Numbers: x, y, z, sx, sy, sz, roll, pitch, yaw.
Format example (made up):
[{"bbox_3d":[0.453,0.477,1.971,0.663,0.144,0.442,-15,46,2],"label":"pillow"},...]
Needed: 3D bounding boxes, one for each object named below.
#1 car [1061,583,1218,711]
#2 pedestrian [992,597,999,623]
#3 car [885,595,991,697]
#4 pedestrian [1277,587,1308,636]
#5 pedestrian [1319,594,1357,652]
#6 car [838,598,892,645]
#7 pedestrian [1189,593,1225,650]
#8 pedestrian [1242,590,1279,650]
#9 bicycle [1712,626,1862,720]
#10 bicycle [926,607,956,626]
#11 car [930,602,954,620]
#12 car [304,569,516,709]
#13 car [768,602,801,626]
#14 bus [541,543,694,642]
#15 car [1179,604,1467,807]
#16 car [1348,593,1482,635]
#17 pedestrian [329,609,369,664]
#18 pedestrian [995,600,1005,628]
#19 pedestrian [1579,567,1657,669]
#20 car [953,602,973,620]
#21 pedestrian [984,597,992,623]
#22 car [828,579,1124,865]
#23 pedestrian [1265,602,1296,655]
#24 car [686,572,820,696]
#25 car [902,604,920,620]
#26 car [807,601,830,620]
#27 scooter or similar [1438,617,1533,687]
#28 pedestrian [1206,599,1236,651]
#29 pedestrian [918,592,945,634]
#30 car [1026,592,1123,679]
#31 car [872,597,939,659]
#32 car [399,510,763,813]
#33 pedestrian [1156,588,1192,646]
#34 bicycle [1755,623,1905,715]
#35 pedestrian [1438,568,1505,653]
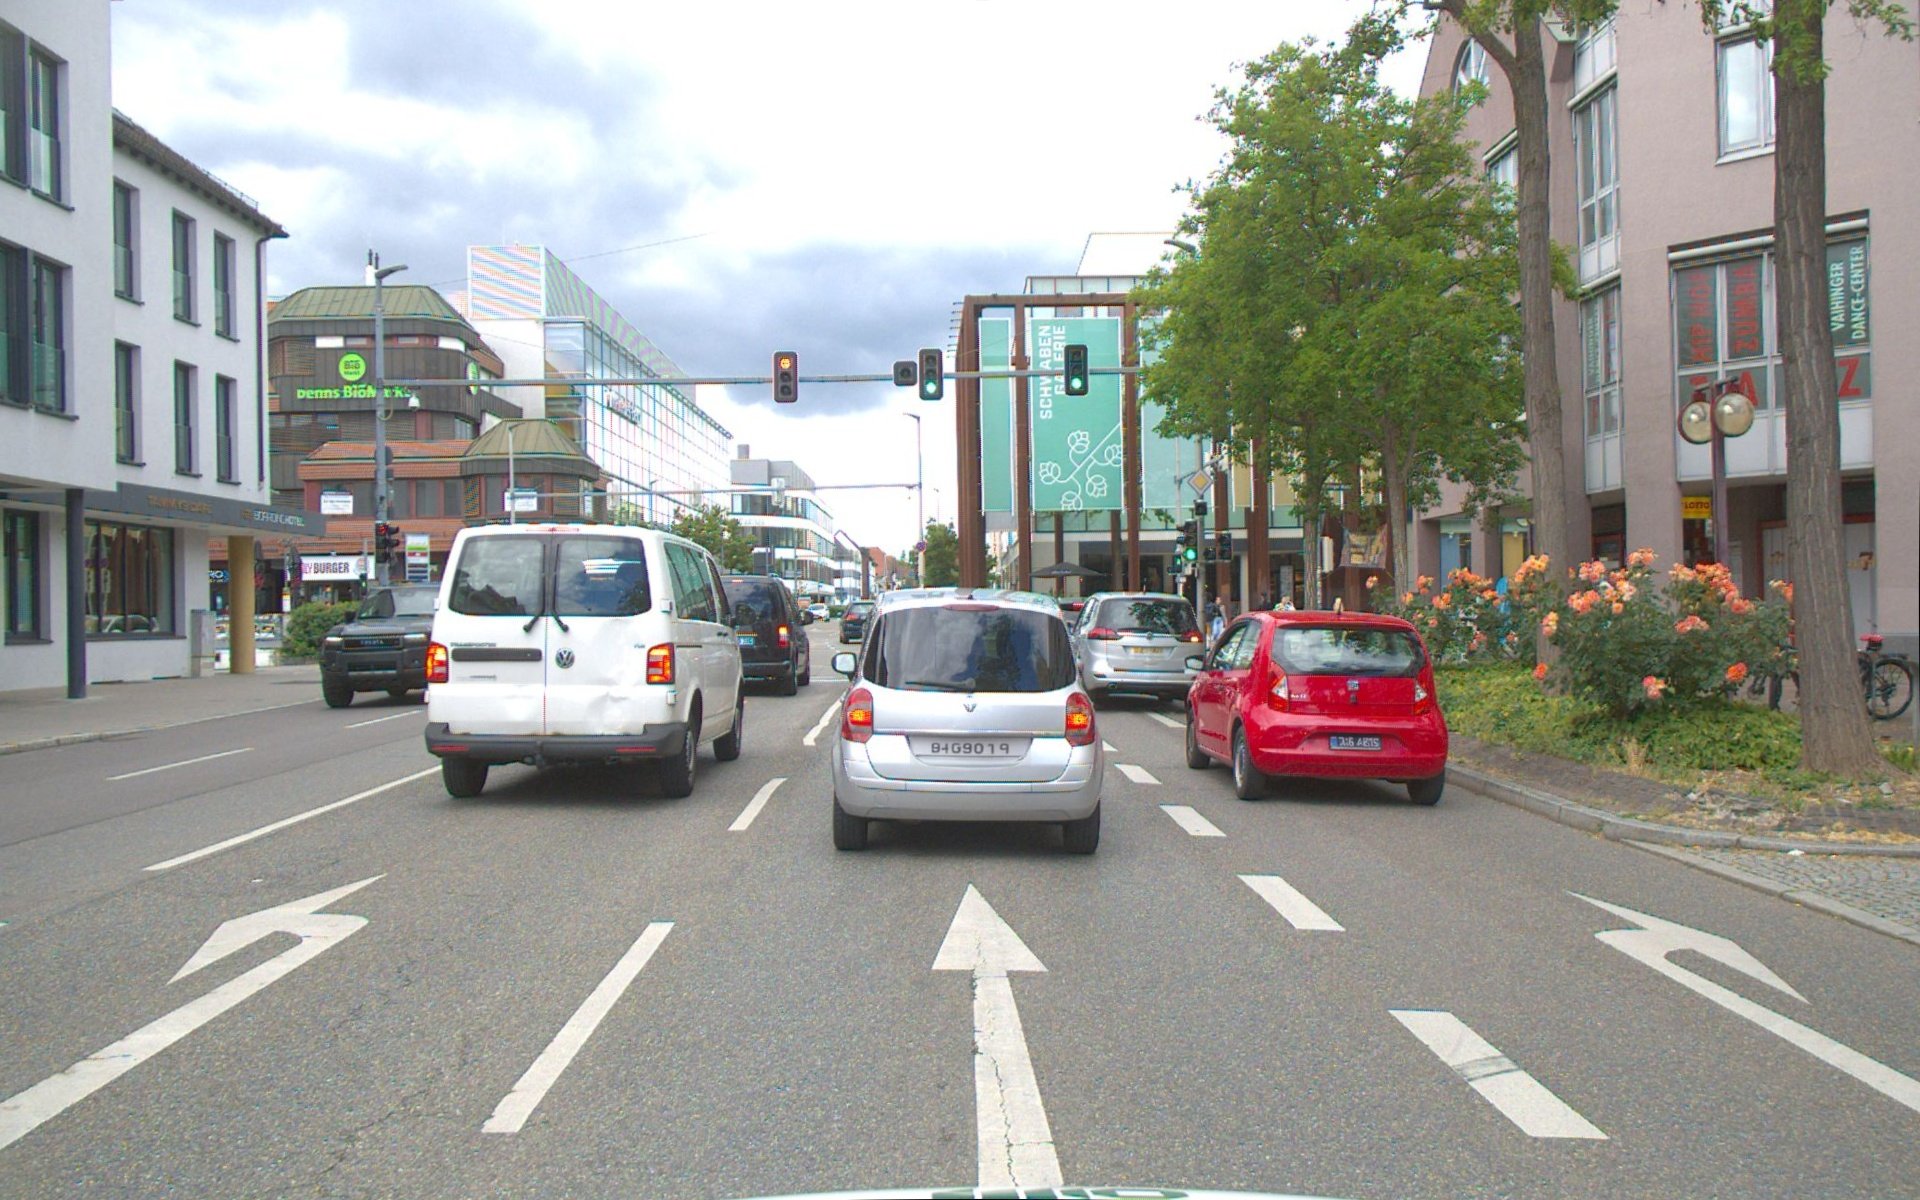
[{"bbox_3d":[2.595,0.646,24.883,1.704,1.730,4.379,1,0,-2],"label":"car"},{"bbox_3d":[2.165,0.609,100.657,0.418,1.576,0.481,-1,0,-3],"label":"pedestrian"},{"bbox_3d":[-0.371,0.722,27.744,1.636,1.581,3.641,1,0,-1],"label":"car"},{"bbox_3d":[11.264,0.386,56.101,0.805,1.623,1.039,0,0,-3],"label":"pedestrian"},{"bbox_3d":[11.907,0.722,52.182,0.861,1.798,1.119,-1,0,-4],"label":"pedestrian"},{"bbox_3d":[-3.210,0.701,56.444,1.636,1.521,3.641,1,0,-1],"label":"car"},{"bbox_3d":[7.514,0.657,50.364,0.861,1.711,1.119,-1,0,-4],"label":"pedestrian"},{"bbox_3d":[9.227,0.611,50.832,0.861,1.798,1.119,-1,0,-4],"label":"pedestrian"},{"bbox_3d":[9.820,0.854,19.671,1.541,1.067,0.404,-1,0,41],"label":"bicycle"},{"bbox_3d":[-0.999,0.872,87.500,1.528,1.010,0.752,-1,0,2],"label":"bicycle"},{"bbox_3d":[-1.400,0.847,131.778,1.839,1.358,3.999,1,0,0],"label":"car"},{"bbox_3d":[-8.780,0.573,26.854,1.884,2.003,4.768,-2,0,-2],"label":"car"},{"bbox_3d":[-11.153,0.877,105.435,1.709,1.484,4.234,-2,0,-1],"label":"car"},{"bbox_3d":[-13.273,-0.312,65.496,2.926,3.385,12.309,-3,0,2],"label":"bus"},{"bbox_3d":[2.952,0.793,14.155,1.593,1.473,3.641,1,0,-1],"label":"car"},{"bbox_3d":[15.645,0.464,57.004,4.090,1.429,1.799,0,0,-4],"label":"car"},{"bbox_3d":[-20.170,1.208,54.589,0.928,1.786,0.945,-1,0,0],"label":"pedestrian"},{"bbox_3d":[1.796,0.636,73.928,0.438,1.241,0.606,-1,0,2],"label":"pedestrian"},{"bbox_3d":[10.971,0.287,27.591,0.792,1.654,1.093,-1,0,-3],"label":"pedestrian"},{"bbox_3d":[0.291,1.054,160.252,1.839,1.591,3.999,1,0,0],"label":"car"},{"bbox_3d":[1.692,0.599,100.611,0.418,1.576,0.481,-1,0,-3],"label":"pedestrian"},{"bbox_3d":[0.065,0.692,11.140,1.636,1.581,3.641,1,0,-1],"label":"car"},{"bbox_3d":[10.246,0.890,52.844,0.727,1.654,0.953,-1,0,-4],"label":"pedestrian"},{"bbox_3d":[-3.322,0.517,27.317,1.673,1.852,4.570,1,0,-1],"label":"car"},{"bbox_3d":[-4.927,1.194,166.246,1.626,1.491,3.999,-2,0,-1],"label":"car"},{"bbox_3d":[-11.717,0.863,137.142,1.626,1.491,3.999,-2,0,-1],"label":"car"},{"bbox_3d":[8.677,0.848,27.390,0.462,1.106,1.878,-1,-1,-18],"label":"scooter or similar"},{"bbox_3d":[8.495,0.793,53.884,0.727,1.654,0.953,-1,0,-4],"label":"pedestrian"},{"bbox_3d":[-1.126,0.514,65.921,0.854,1.675,0.678,-1,0,33],"label":"pedestrian"},{"bbox_3d":[2.429,0.726,35.948,1.704,1.730,4.380,1,0,-1],"label":"car"},{"bbox_3d":[-1.395,0.695,43.172,1.636,1.521,3.641,1,0,-1],"label":"car"},{"bbox_3d":[-2.885,0.424,13.759,1.953,2.049,4.839,1,0,-1],"label":"car"},{"bbox_3d":[6.502,0.508,50.345,0.861,1.711,1.119,-1,0,-4],"label":"pedestrian"},{"bbox_3d":[10.454,0.817,19.903,1.541,1.067,0.404,-1,0,41],"label":"bicycle"},{"bbox_3d":[10.817,0.219,35.027,1.034,1.745,1.109,0,0,-2],"label":"pedestrian"}]
